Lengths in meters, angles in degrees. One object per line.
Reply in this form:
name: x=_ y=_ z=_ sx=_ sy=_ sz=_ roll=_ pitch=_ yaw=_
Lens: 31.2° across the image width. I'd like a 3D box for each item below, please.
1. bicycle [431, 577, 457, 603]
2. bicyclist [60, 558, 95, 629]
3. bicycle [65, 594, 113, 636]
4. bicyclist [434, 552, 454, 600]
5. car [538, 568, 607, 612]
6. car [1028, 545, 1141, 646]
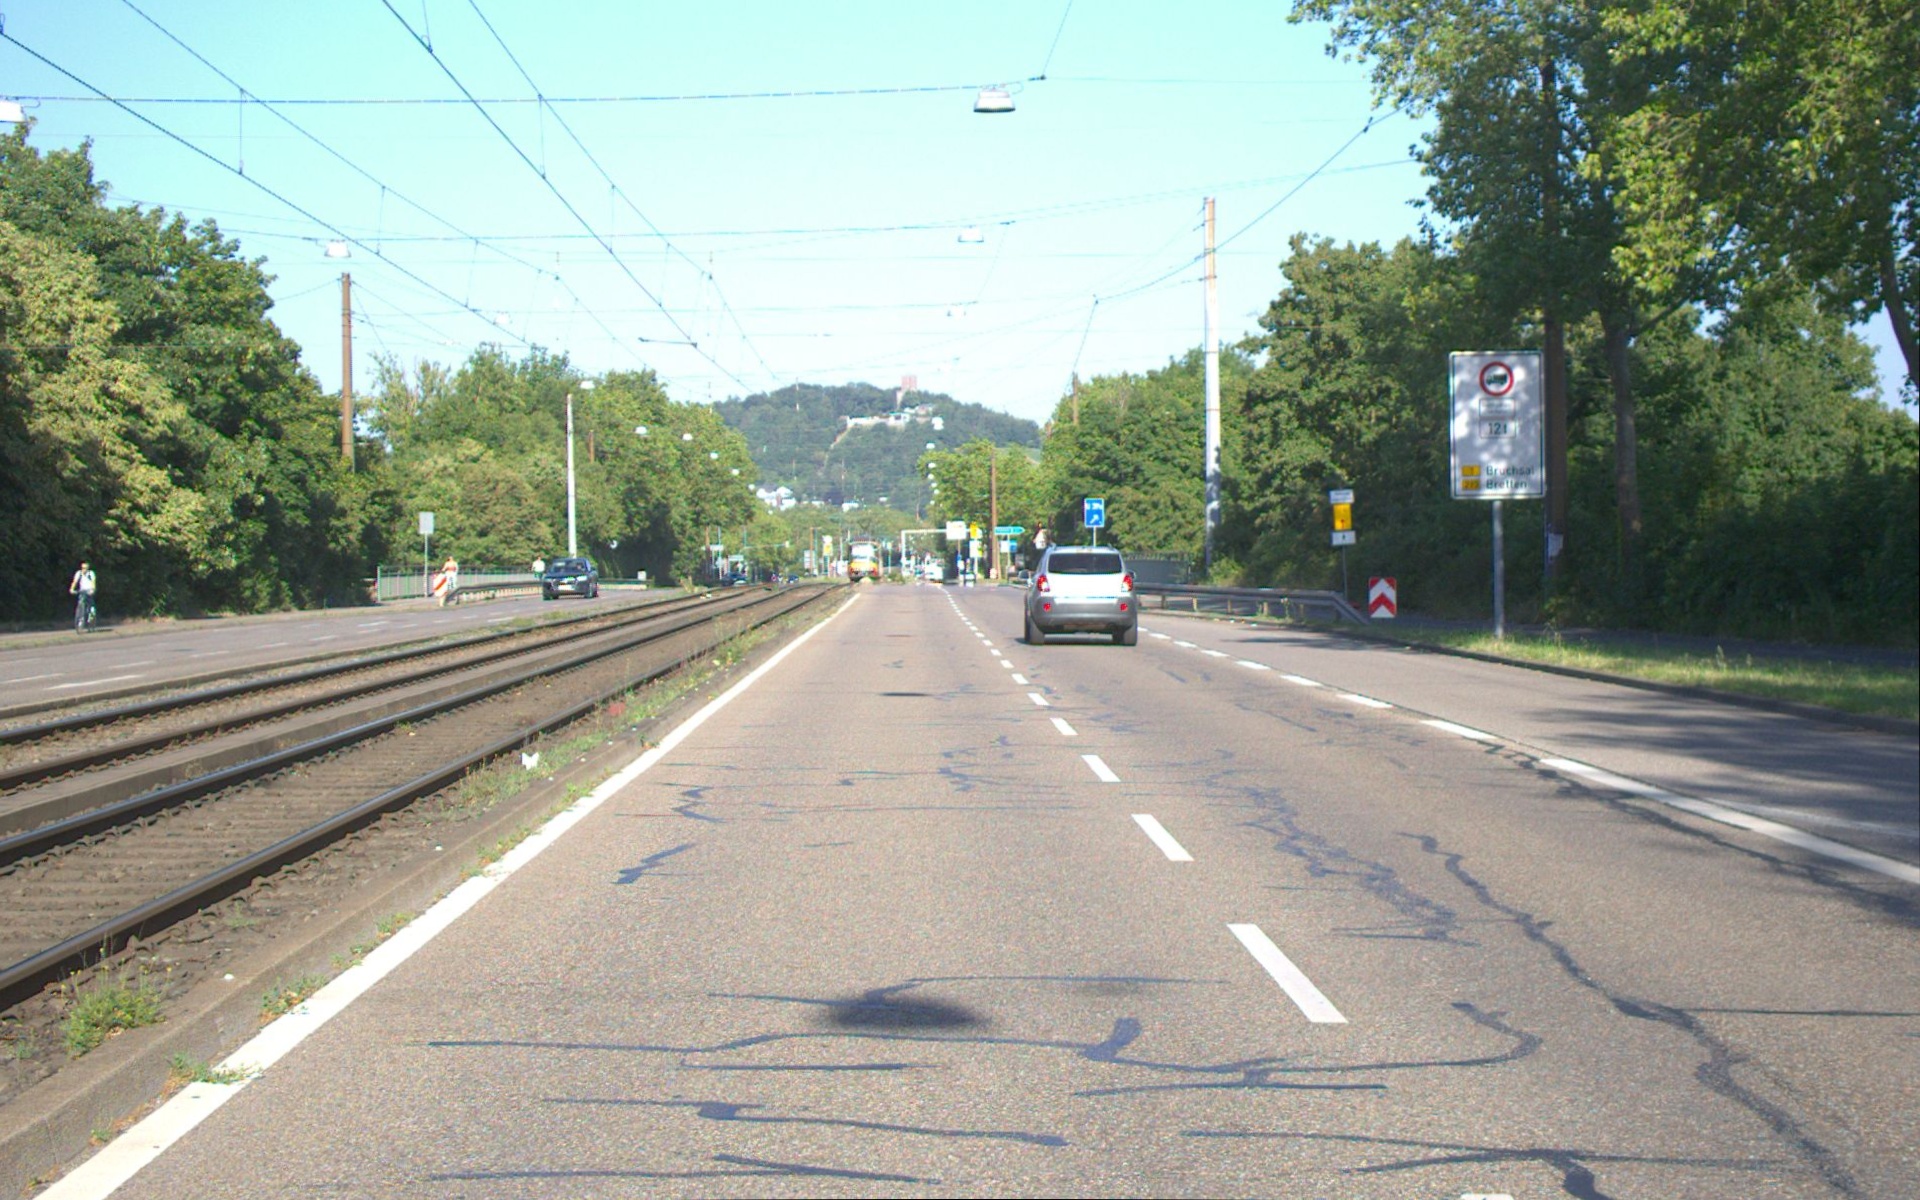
bicycle: x=-18.183 y=-0.368 z=121.241 sx=0.507 sy=0.889 sz=2.027 roll=1 pitch=0 yaw=2
bicyclist: x=-21.111 y=-0.156 z=82.250 sx=0.550 sy=1.684 sz=0.820 roll=1 pitch=0 yaw=3
bicycle: x=-20.881 y=0.350 z=82.444 sx=0.550 sy=0.983 sz=2.239 roll=1 pitch=0 yaw=1
bicyclist: x=-18.180 y=-0.856 z=121.145 sx=0.507 sy=1.681 sz=0.919 roll=1 pitch=0 yaw=2
car: x=-15.544 y=-0.415 z=138.141 sx=1.994 sy=1.680 sz=4.795 roll=-2 pitch=0 yaw=2
car: x=2.150 y=-0.093 z=59.820 sx=1.888 sy=1.688 sz=4.256 roll=0 pitch=0 yaw=2
